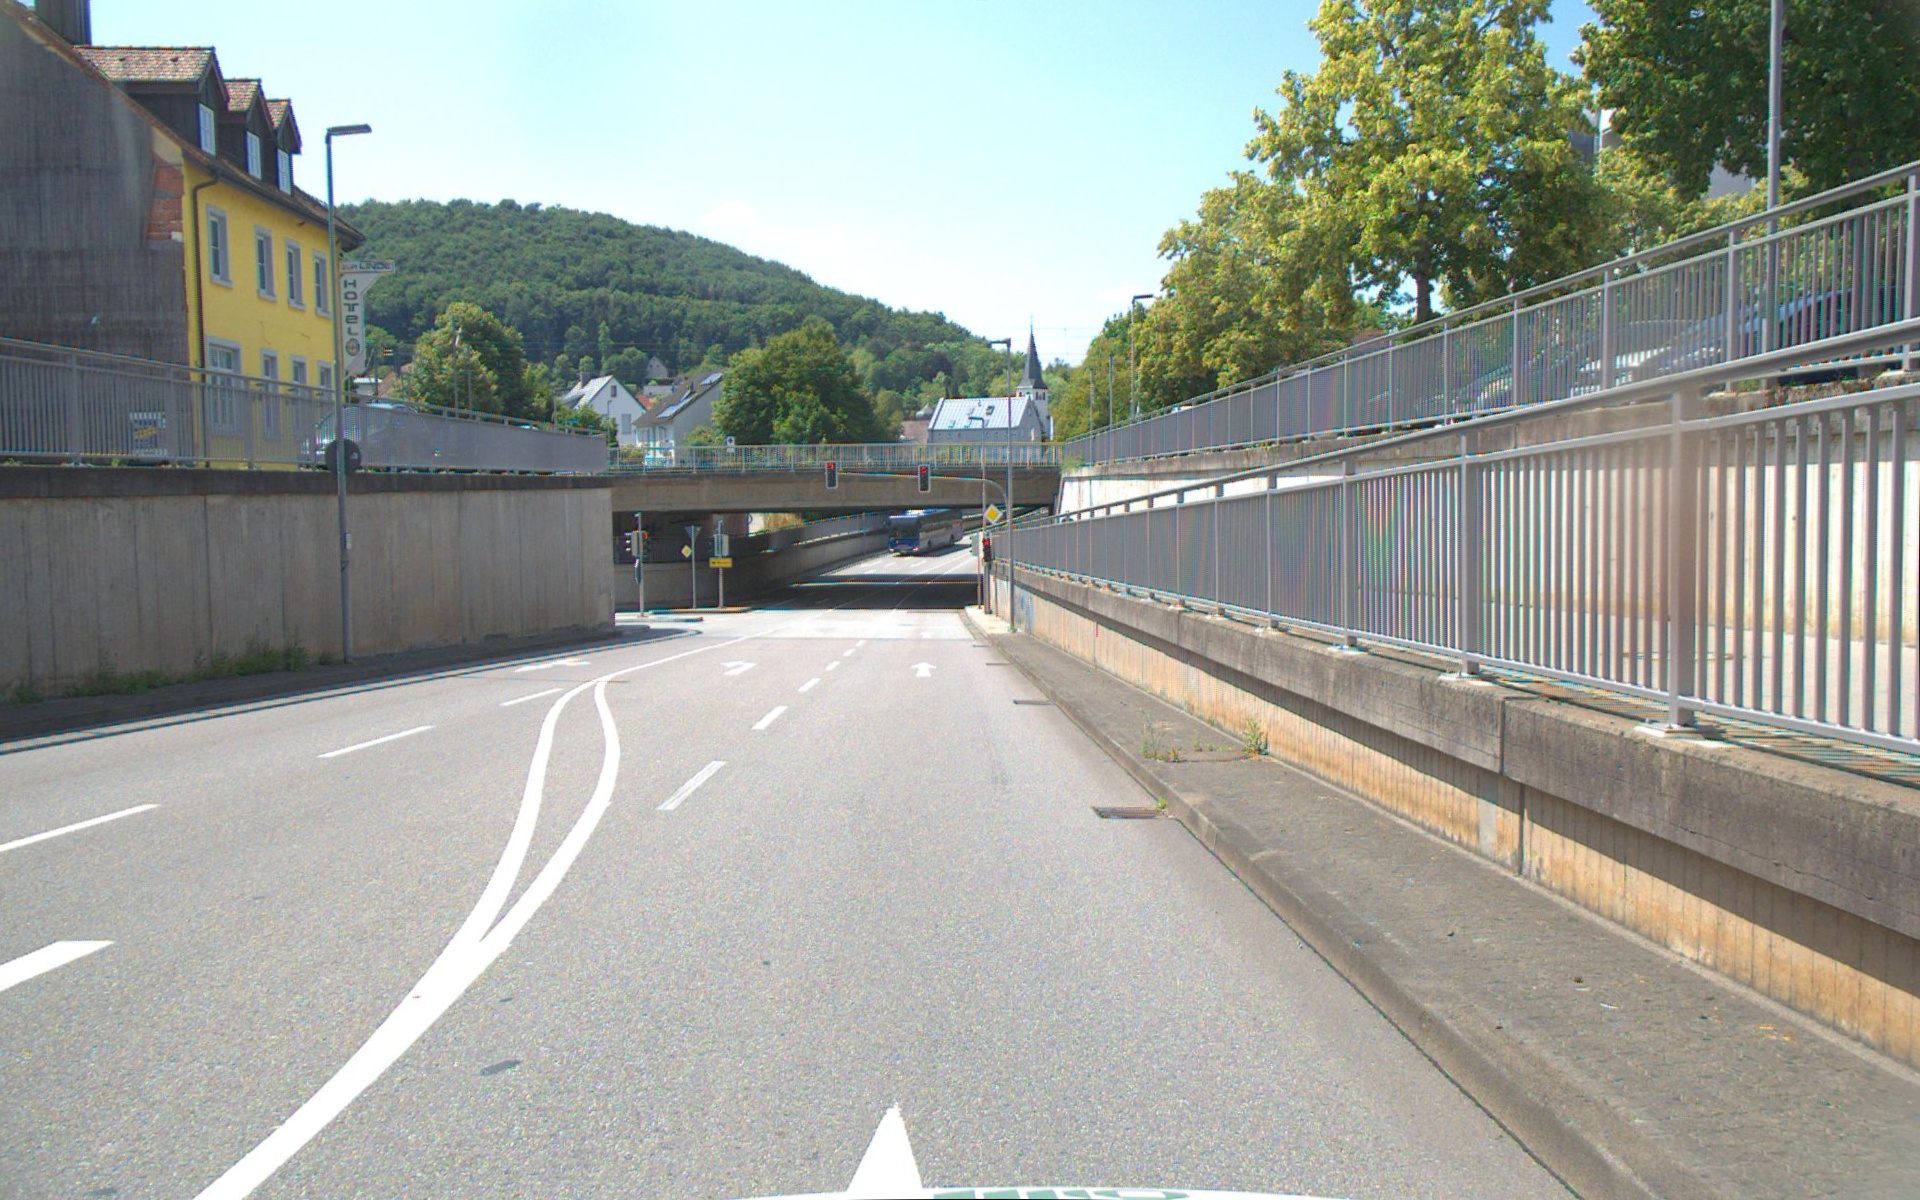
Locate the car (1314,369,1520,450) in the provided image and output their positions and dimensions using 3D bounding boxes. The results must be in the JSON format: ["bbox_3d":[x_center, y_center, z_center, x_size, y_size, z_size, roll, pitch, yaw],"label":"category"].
[{"bbox_3d":[9.595,-4.001,34.958,3.904,1.512,1.770,0,1,2],"label":"car"}]

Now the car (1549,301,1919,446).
[{"bbox_3d":[9.560,-2.775,20.530,3.904,1.583,1.725,0,1,1],"label":"car"}]

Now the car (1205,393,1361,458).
[{"bbox_3d":[8.692,-4.702,44.687,3.904,1.594,1.770,0,1,2],"label":"car"}]

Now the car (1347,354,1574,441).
[{"bbox_3d":[9.681,-3.915,32.183,3.904,1.512,1.770,0,1,2],"label":"car"}]

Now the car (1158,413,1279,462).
[{"bbox_3d":[8.841,-5.559,56.774,3.904,1.512,1.770,0,1,2],"label":"car"}]

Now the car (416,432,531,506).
[{"bbox_3d":[-12.025,-3.214,41.156,1.786,1.735,4.221,0,3,-3],"label":"car"}]

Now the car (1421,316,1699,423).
[{"bbox_3d":[9.683,-3.726,26.925,3.904,1.512,1.770,0,1,2],"label":"car"}]

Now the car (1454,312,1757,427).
[{"bbox_3d":[9.648,-3.442,24.943,3.904,1.512,1.770,0,1,2],"label":"car"}]

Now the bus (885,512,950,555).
[{"bbox_3d":[-3.261,-5.375,131.269,2.526,3.227,12.392,0,3,11],"label":"bus"}]

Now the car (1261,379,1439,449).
[{"bbox_3d":[9.366,-4.457,39.904,3.904,1.512,1.770,0,1,2],"label":"car"}]

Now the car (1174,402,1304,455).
[{"bbox_3d":[8.848,-5.448,52.665,3.904,1.512,1.770,0,1,2],"label":"car"}]

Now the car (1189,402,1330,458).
[{"bbox_3d":[8.835,-5.019,49.001,3.904,1.512,1.770,0,1,2],"label":"car"}]

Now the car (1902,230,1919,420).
[{"bbox_3d":[10.075,-2.333,13.390,3.904,1.583,1.725,0,1,1],"label":"car"}]

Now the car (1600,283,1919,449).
[{"bbox_3d":[9.223,-2.495,17.931,3.904,1.583,1.725,0,1,1],"label":"car"}]

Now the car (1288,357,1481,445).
[{"bbox_3d":[9.487,-4.447,37.184,3.904,1.801,1.770,0,1,2],"label":"car"}]

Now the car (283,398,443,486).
[{"bbox_3d":[-11.742,-3.080,32.842,1.762,1.551,4.392,0,3,-3],"label":"car"}]
